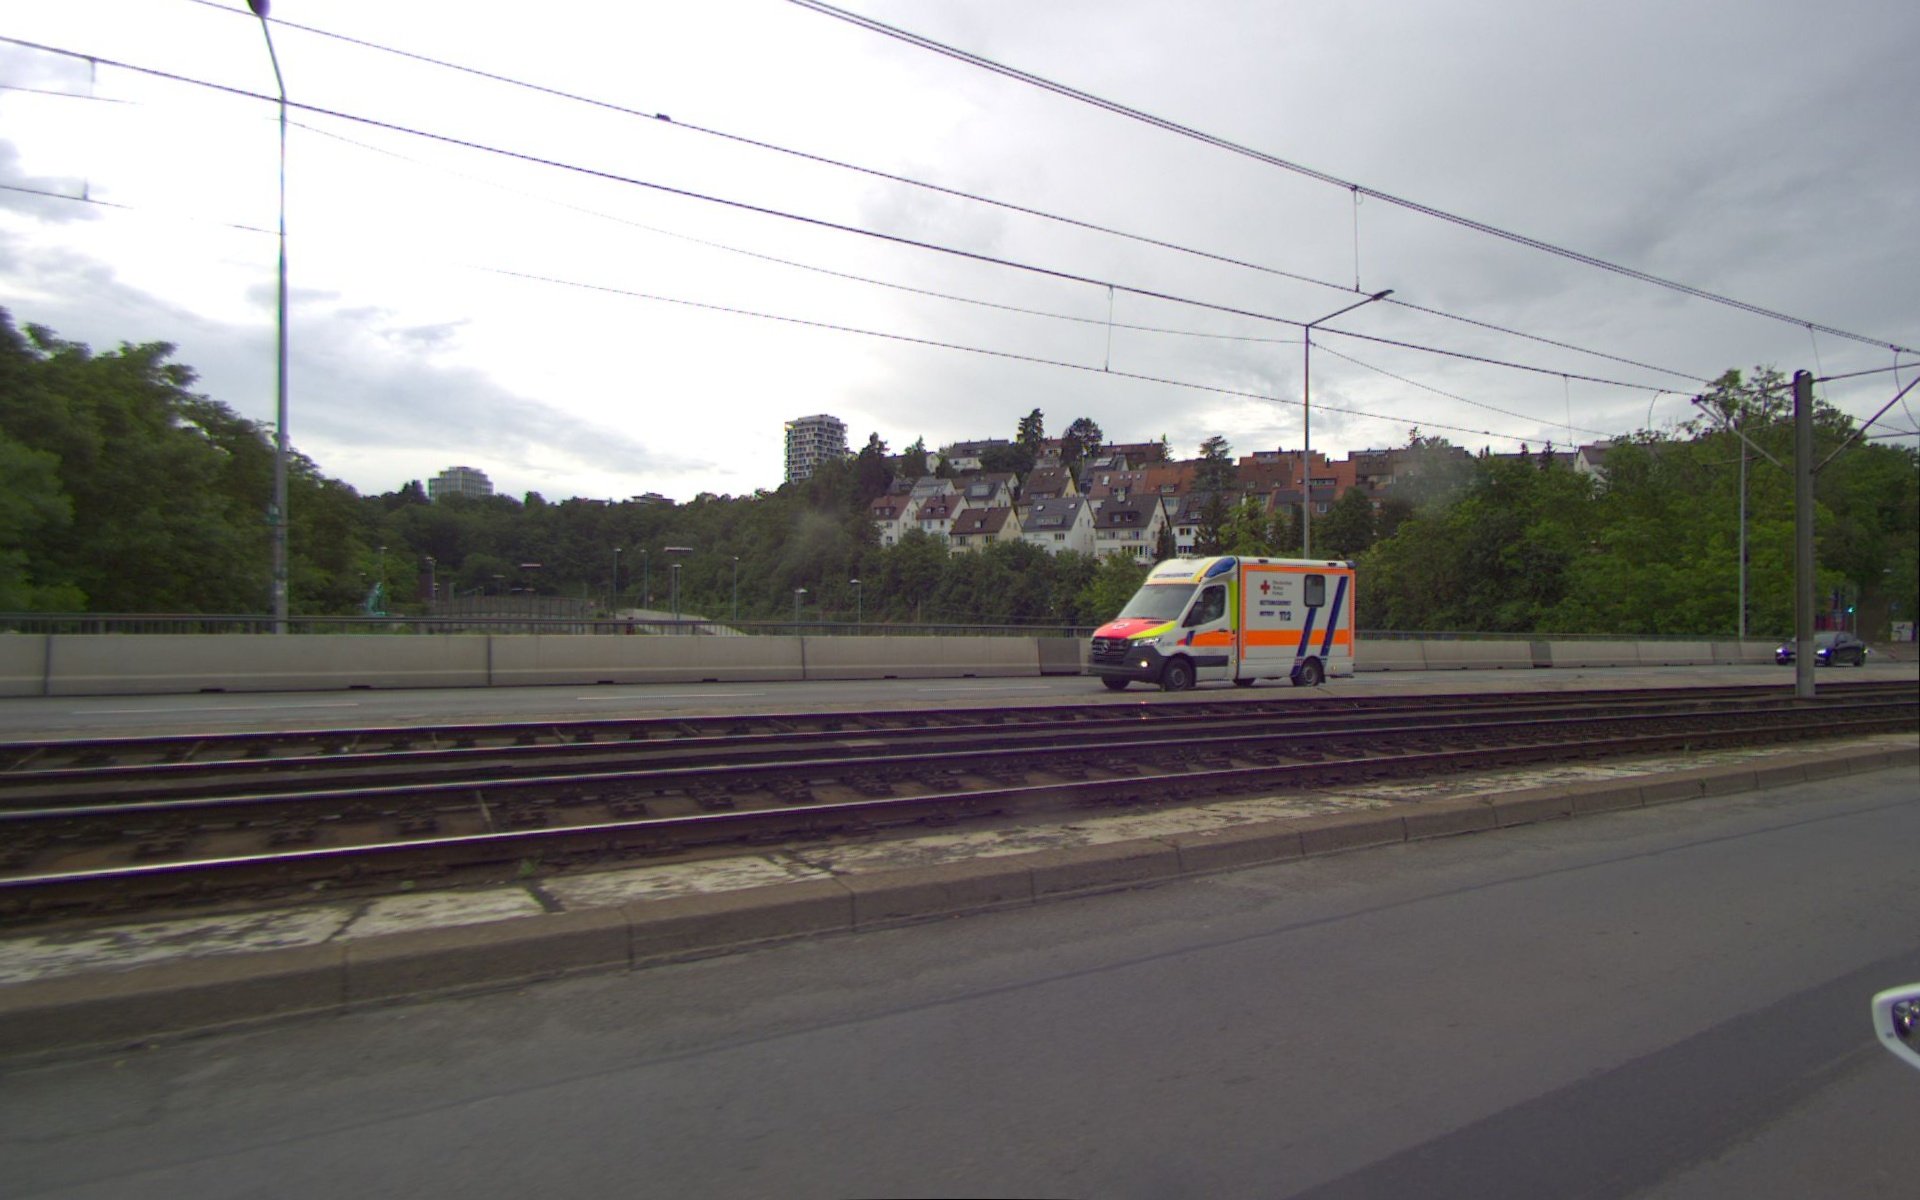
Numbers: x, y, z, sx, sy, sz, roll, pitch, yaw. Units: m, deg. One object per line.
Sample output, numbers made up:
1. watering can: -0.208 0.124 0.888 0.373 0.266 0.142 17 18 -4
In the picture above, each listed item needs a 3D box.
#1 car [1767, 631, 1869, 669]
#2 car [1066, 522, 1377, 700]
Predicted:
1. car: 36.095 2.076 42.222 4.684 1.455 1.808 1 0 -30
2. car: 5.425 0.276 20.490 6.283 3.157 2.378 2 0 -31
